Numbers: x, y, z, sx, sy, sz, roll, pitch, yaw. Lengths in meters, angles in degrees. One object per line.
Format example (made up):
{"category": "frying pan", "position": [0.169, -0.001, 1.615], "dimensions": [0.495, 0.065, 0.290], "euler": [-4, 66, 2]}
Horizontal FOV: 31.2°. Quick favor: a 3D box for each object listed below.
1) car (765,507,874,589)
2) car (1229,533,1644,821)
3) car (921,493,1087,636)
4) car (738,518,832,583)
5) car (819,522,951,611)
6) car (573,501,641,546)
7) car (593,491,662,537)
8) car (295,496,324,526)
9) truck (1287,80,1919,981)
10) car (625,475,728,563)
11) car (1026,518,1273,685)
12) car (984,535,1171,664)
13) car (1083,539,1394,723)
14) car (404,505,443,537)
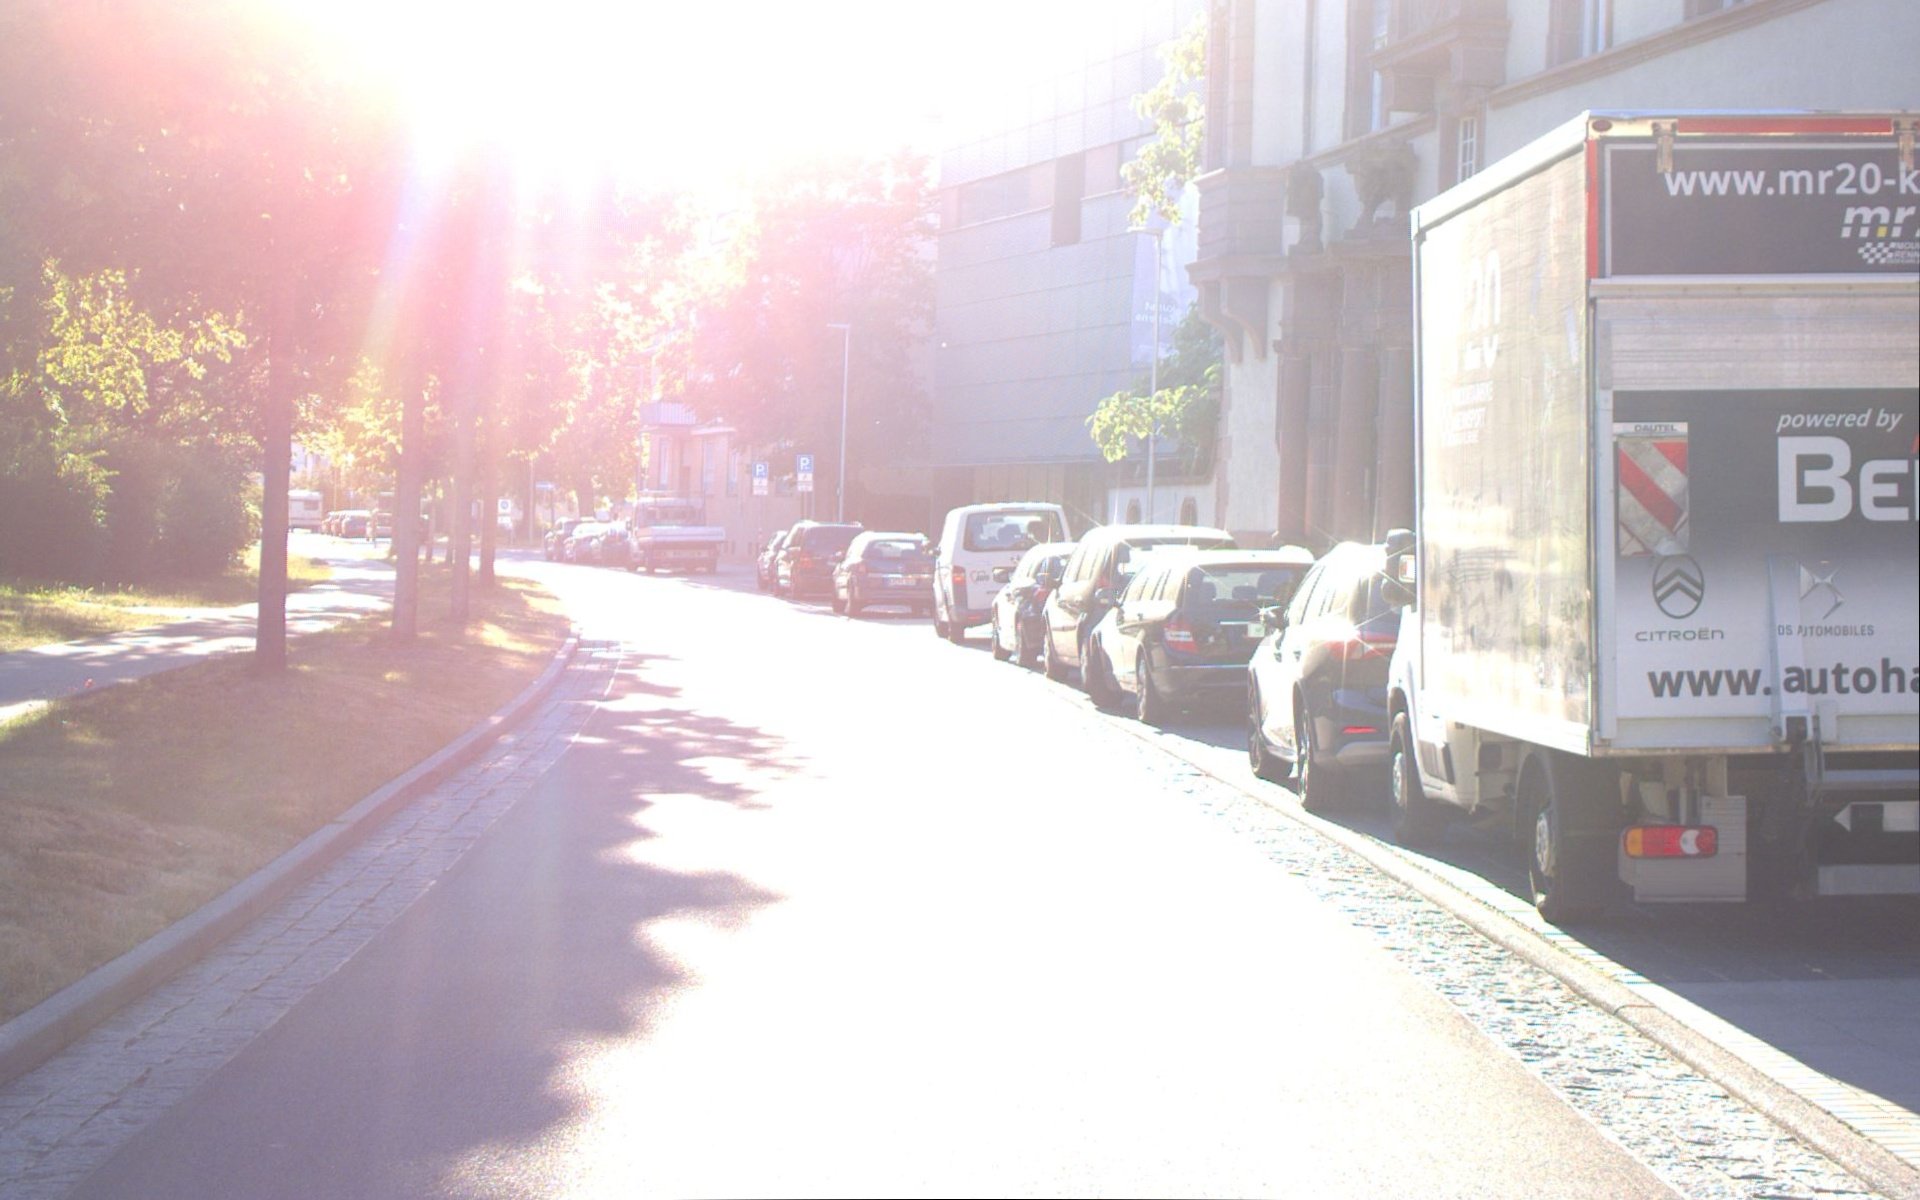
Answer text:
{"category": "car", "position": [-3.012, -1.128, 72.942], "dimensions": [1.724, 1.663, 4.115], "euler": [0, 2, -11]}
{"category": "car", "position": [2.738, 0.370, 20.735], "dimensions": [1.768, 1.525, 4.573], "euler": [0, 1, -1]}
{"category": "car", "position": [0.593, -0.553, 50.860], "dimensions": [1.993, 1.959, 4.850], "euler": [-1, 1, -4]}
{"category": "car", "position": [-4.043, -1.153, 78.907], "dimensions": [1.724, 1.416, 3.907], "euler": [1, 2, -9]}
{"category": "car", "position": [-1.410, -0.637, 62.729], "dimensions": [1.747, 1.461, 4.479], "euler": [3, 1, -9]}
{"category": "car", "position": [-12.033, -2.617, 117.130], "dimensions": [1.690, 1.435, 4.105], "euler": [1, 2, -14]}
{"category": "car", "position": [-10.896, -2.827, 112.421], "dimensions": [1.690, 1.435, 3.552], "euler": [1, 2, -14]}
{"category": "car", "position": [-45.146, -6.199, 238.607], "dimensions": [1.793, 1.992, 4.001], "euler": [2, 1, -13]}
{"category": "truck", "position": [3.199, -0.313, 14.975], "dimensions": [2.623, 3.110, 6.088], "euler": [0, 1, -3]}
{"category": "car", "position": [-8.401, -2.422, 101.428], "dimensions": [2.210, 2.521, 6.150], "euler": [0, 2, -13]}
{"category": "car", "position": [1.870, -0.031, 35.171], "dimensions": [1.815, 1.596, 4.193], "euler": [0, 1, -7]}
{"category": "car", "position": [1.316, -0.041, 40.165], "dimensions": [1.678, 1.398, 4.200], "euler": [0, 1, -5]}
{"category": "car", "position": [2.296, 0.209, 29.578], "dimensions": [1.871, 1.431, 4.524], "euler": [0, 1, -6]}
{"category": "car", "position": [-27.312, -4.021, 174.909], "dimensions": [1.793, 1.504, 4.001], "euler": [2, 1, -10]}
